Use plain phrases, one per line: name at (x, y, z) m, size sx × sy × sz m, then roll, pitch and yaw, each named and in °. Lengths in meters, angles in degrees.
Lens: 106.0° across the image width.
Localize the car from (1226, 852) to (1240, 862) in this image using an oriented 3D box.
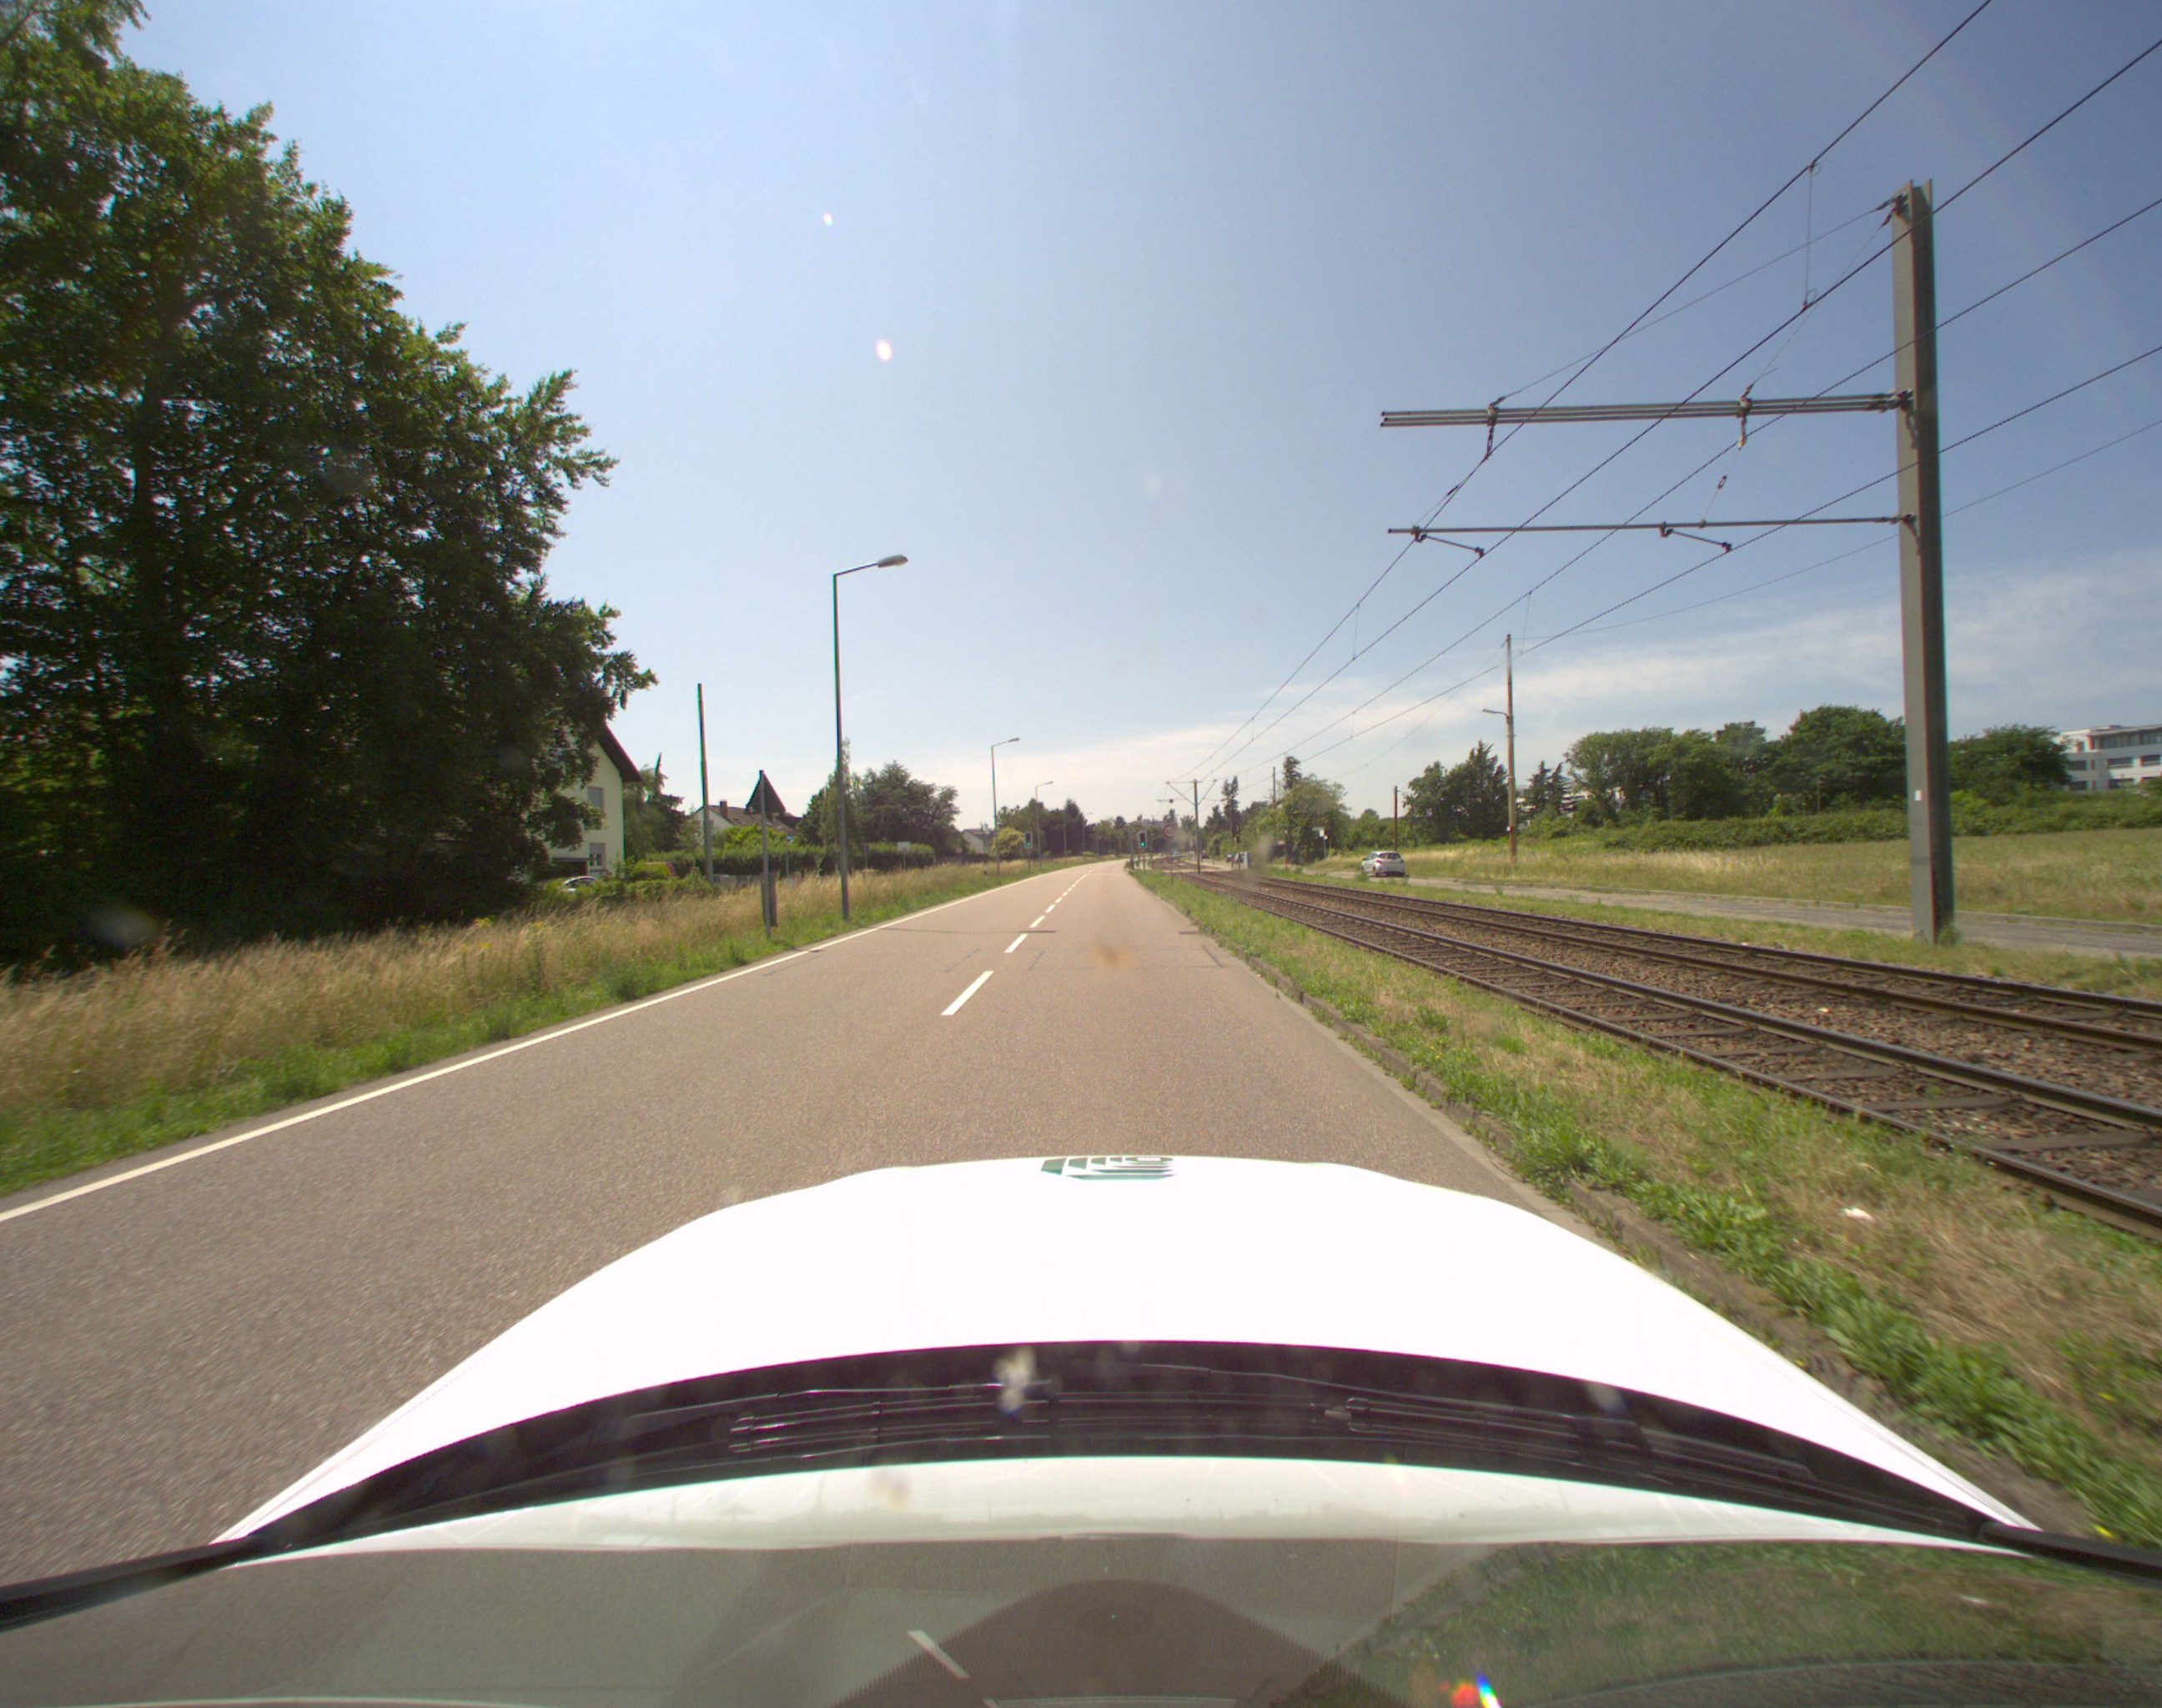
car at (22.875, 0.460, 122.461) m, size 1.612 × 1.422 × 4.879 m, roll -1°, pitch 0°, yaw 5°

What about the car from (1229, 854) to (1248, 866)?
car at (19.752, 0.739, 102.200) m, size 1.930 × 1.422 × 4.004 m, roll -1°, pitch 0°, yaw 4°

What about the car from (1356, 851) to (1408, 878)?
car at (17.631, 0.600, 47.846) m, size 1.706 × 1.488 × 4.004 m, roll -1°, pitch 0°, yaw 3°

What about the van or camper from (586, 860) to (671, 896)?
van or camper at (-31.346, 1.629, 56.508) m, size 4.742 × 2.388 × 1.998 m, roll -1°, pitch 0°, yaw -3°

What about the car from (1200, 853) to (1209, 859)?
car at (29.066, 0.424, 191.592) m, size 1.851 × 1.330 × 4.522 m, roll -1°, pitch 0°, yaw 6°

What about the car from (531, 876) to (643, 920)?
car at (-19.123, 1.649, 31.747) m, size 1.700 × 1.491 × 4.187 m, roll -1°, pitch 0°, yaw 1°
